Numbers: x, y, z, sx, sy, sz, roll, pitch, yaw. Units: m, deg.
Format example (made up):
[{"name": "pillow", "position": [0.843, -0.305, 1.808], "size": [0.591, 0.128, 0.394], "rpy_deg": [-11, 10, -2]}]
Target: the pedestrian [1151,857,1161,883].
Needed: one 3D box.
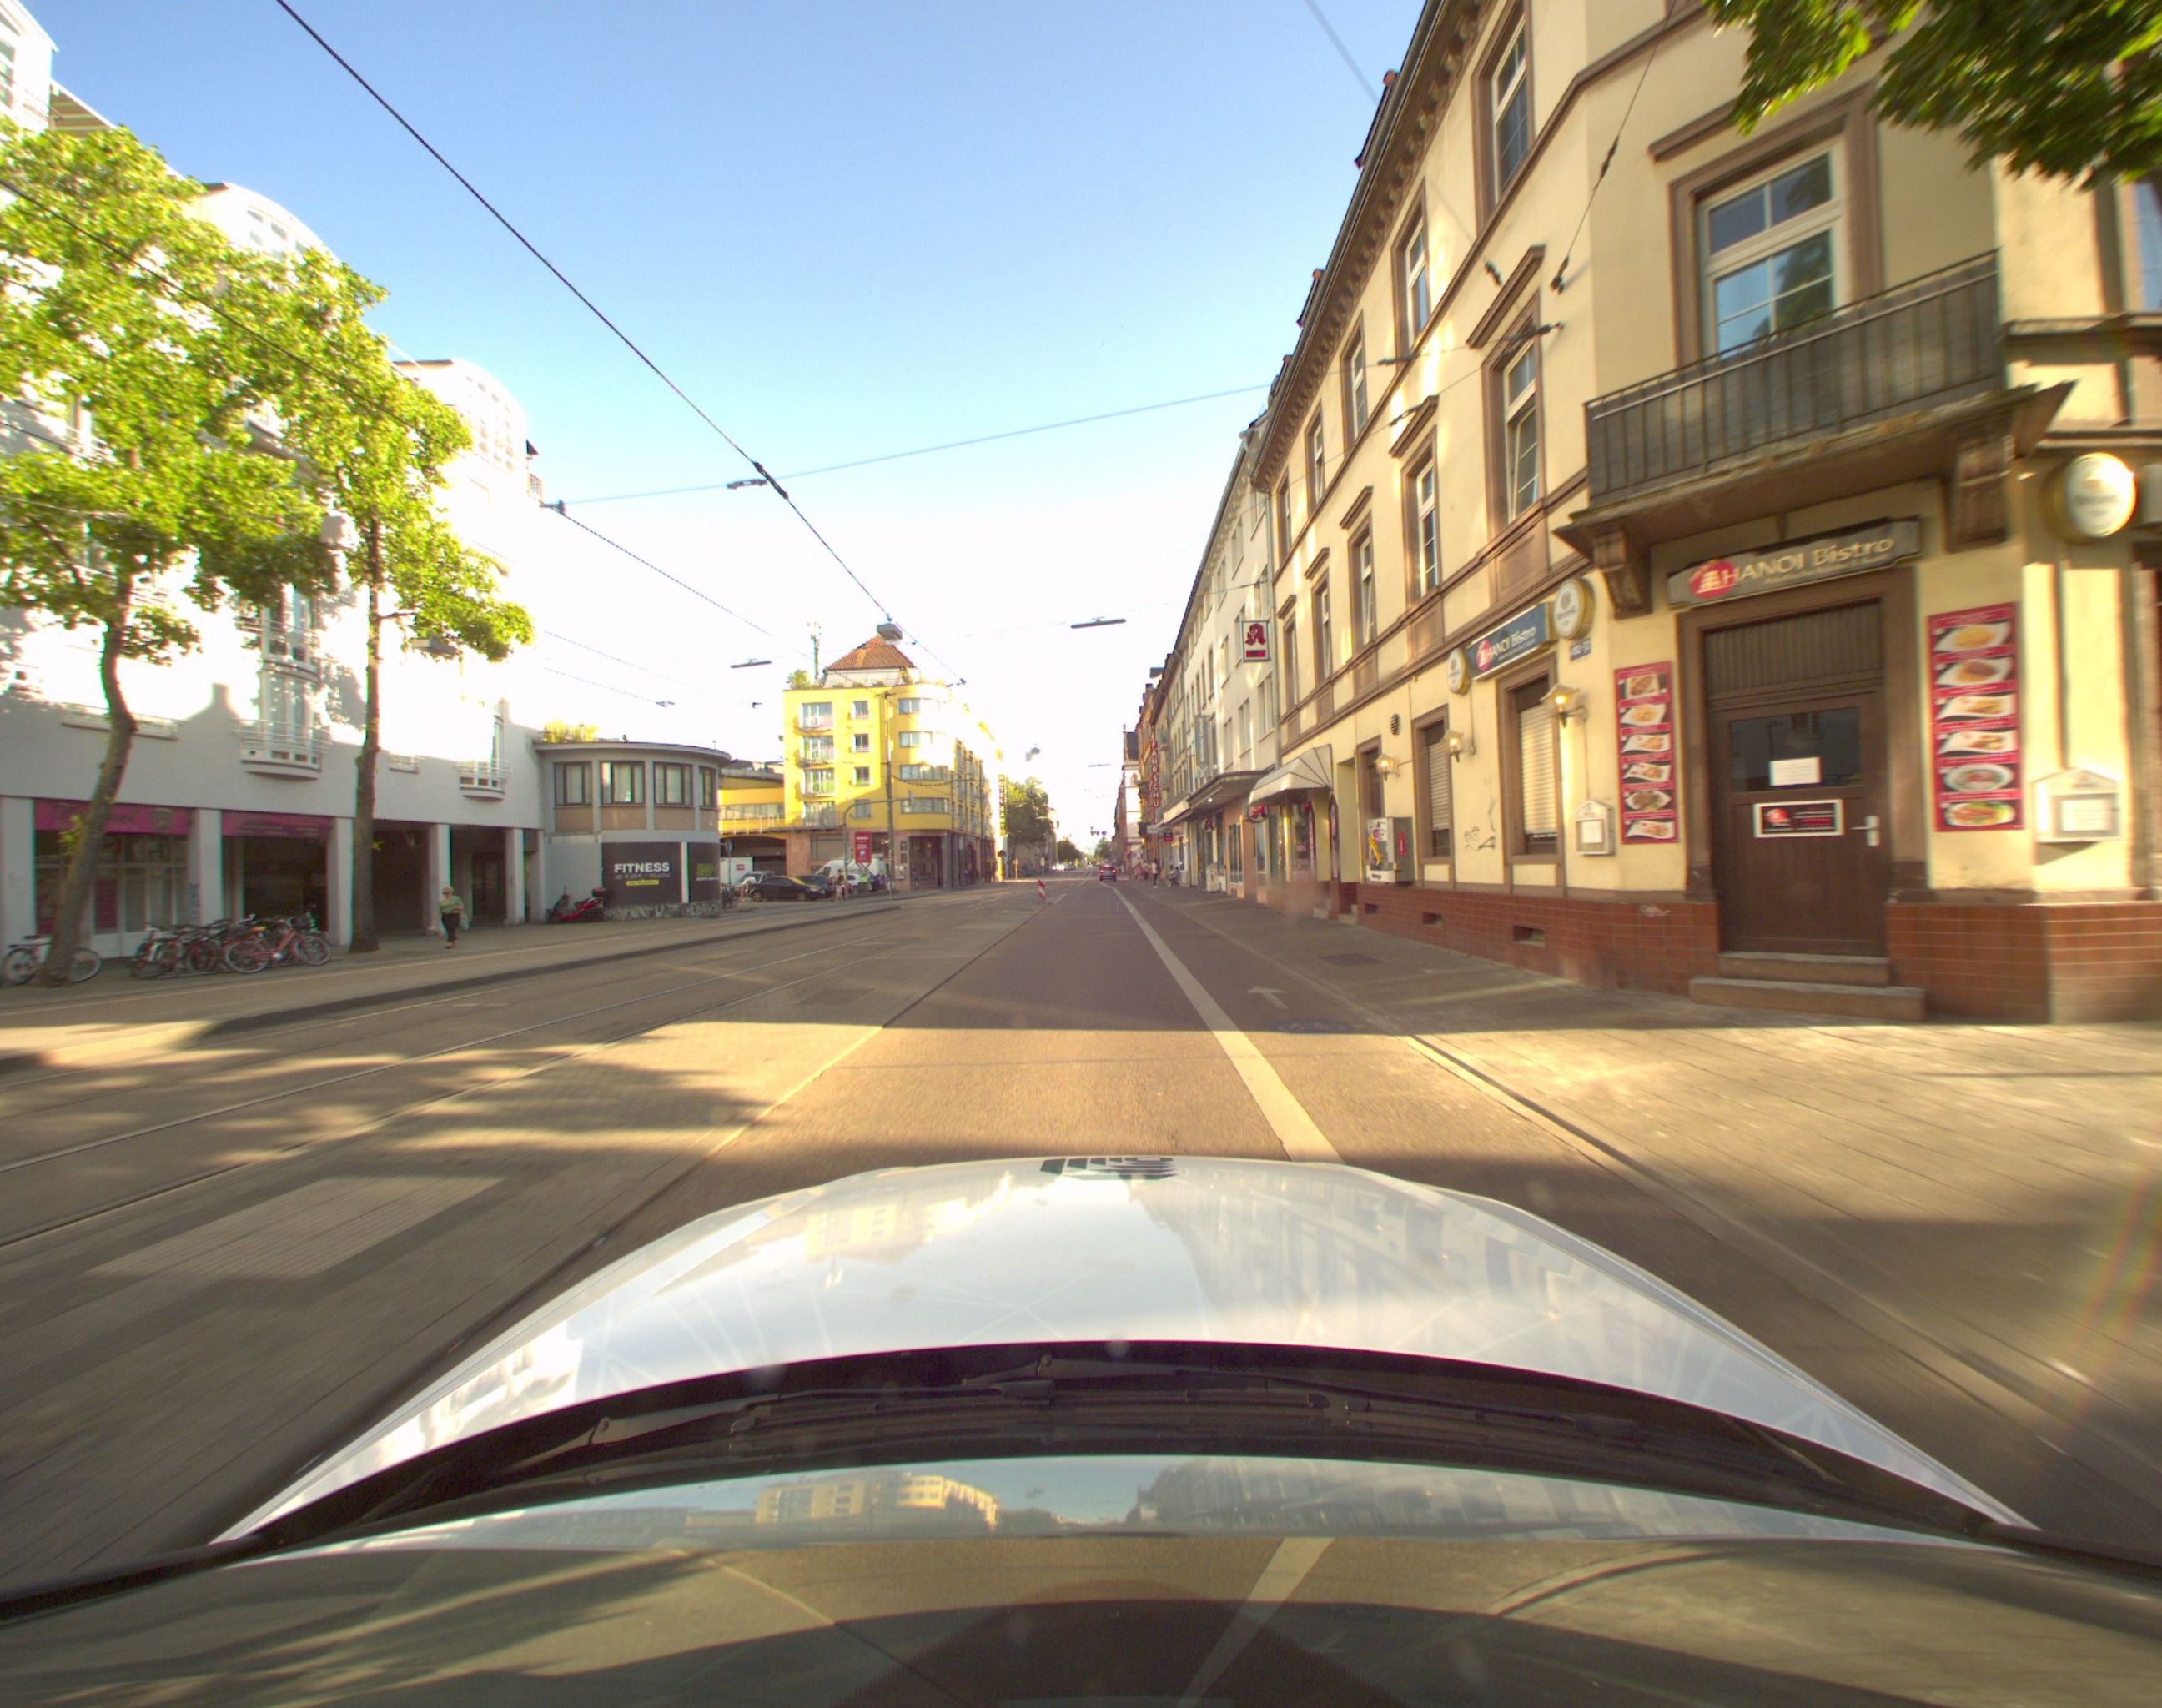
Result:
[{"name": "pedestrian", "position": [5.225, 1.087, 56.586], "size": [0.557, 1.796, 0.652], "rpy_deg": [-2, -1, 8]}]

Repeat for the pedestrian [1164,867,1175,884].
[{"name": "pedestrian", "position": [5.636, 1.343, 51.917], "size": [0.687, 1.043, 0.681], "rpy_deg": [-2, -1, 5]}]

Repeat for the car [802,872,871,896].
[{"name": "car", "position": [-16.209, 1.970, 54.013], "size": [3.972, 1.510, 1.801], "rpy_deg": [-1, -1, 2]}]

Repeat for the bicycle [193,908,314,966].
[{"name": "bicycle", "position": [-17.955, 1.768, 17.707], "size": [0.494, 1.107, 1.811], "rpy_deg": [0, 0, 42]}]

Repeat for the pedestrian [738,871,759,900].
[{"name": "pedestrian", "position": [-19.046, 1.792, 46.696], "size": [0.896, 1.652, 0.754], "rpy_deg": [0, -1, -41]}]

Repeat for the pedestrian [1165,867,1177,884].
[{"name": "pedestrian", "position": [5.643, 1.322, 51.029], "size": [0.687, 1.043, 0.681], "rpy_deg": [-2, -1, 5]}]

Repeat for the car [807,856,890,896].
[{"name": "car", "position": [-16.088, 1.506, 56.600], "size": [5.086, 2.576, 2.129], "rpy_deg": [-1, -1, 2]}]

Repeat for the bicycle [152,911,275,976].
[{"name": "bicycle", "position": [-17.461, 1.770, 16.455], "size": [0.496, 1.107, 1.801], "rpy_deg": [1, 0, 2]}]

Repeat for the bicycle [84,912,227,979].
[{"name": "bicycle", "position": [-18.164, 1.758, 16.045], "size": [0.495, 1.107, 1.806], "rpy_deg": [1, 0, 13]}]

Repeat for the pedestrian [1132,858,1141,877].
[{"name": "pedestrian", "position": [5.815, 1.447, 85.802], "size": [0.840, 1.918, 0.847], "rpy_deg": [-2, -1, -1]}]

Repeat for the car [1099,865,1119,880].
[{"name": "car", "position": [2.946, 1.934, 86.727], "size": [1.986, 1.449, 4.000], "rpy_deg": [-1, -1, 1]}]

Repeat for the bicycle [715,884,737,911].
[{"name": "bicycle", "position": [-15.601, 1.900, 35.804], "size": [0.499, 1.107, 1.793], "rpy_deg": [-1, -1, -11]}]

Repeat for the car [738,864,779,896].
[{"name": "car", "position": [-23.506, 1.892, 59.539], "size": [1.793, 2.208, 3.990], "rpy_deg": [-1, -1, -7]}]

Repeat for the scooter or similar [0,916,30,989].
[{"name": "scooter or similar", "position": [-18.697, 1.690, 13.610], "size": [0.495, 1.193, 1.276], "rpy_deg": [1, 0, 13]}]

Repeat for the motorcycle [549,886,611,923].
[{"name": "motorcycle", "position": [-18.227, 1.830, 29.628], "size": [1.791, 1.298, 0.605], "rpy_deg": [1, -1, -5]}]

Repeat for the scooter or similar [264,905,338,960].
[{"name": "scooter or similar", "position": [-18.480, 1.836, 19.327], "size": [0.496, 1.193, 1.272], "rpy_deg": [-2, -1, 2]}]

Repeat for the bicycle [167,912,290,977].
[{"name": "bicycle", "position": [-17.036, 1.779, 16.336], "size": [0.496, 1.107, 1.801], "rpy_deg": [1, 0, 2]}]

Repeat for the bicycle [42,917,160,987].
[{"name": "bicycle", "position": [-17.850, 1.760, 14.854], "size": [0.494, 1.107, 1.280], "rpy_deg": [1, 0, 28]}]

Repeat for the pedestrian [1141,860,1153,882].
[{"name": "pedestrian", "position": [5.836, 1.505, 71.918], "size": [0.846, 1.918, 1.034], "rpy_deg": [-2, -1, -1]}]

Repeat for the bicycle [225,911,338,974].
[{"name": "bicycle", "position": [-16.513, 1.796, 16.886], "size": [0.496, 1.107, 1.801], "rpy_deg": [1, 0, 2]}]

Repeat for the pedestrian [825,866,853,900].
[{"name": "pedestrian", "position": [-13.213, 1.579, 44.547], "size": [0.900, 1.815, 1.158], "rpy_deg": [-2, -1, 23]}]

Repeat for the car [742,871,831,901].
[{"name": "car", "position": [-16.652, 1.799, 46.199], "size": [4.303, 1.510, 1.801], "rpy_deg": [-1, -1, 2]}]

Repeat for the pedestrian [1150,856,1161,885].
[{"name": "pedestrian", "position": [4.687, 1.033, 51.287], "size": [0.645, 1.796, 0.562], "rpy_deg": [-2, -1, 5]}]

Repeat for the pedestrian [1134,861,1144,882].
[{"name": "pedestrian", "position": [5.427, 1.612, 76.367], "size": [0.840, 1.918, 0.661], "rpy_deg": [-2, -1, -1]}]

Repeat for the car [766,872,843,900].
[{"name": "car", "position": [-16.578, 1.901, 48.905], "size": [3.972, 1.510, 1.801], "rpy_deg": [-1, -1, 2]}]

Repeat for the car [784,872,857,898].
[{"name": "car", "position": [-16.408, 1.937, 51.484], "size": [3.972, 1.510, 1.801], "rpy_deg": [-1, -1, 2]}]

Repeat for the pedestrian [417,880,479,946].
[{"name": "pedestrian", "position": [-16.601, 1.530, 21.401], "size": [1.017, 1.661, 0.915], "rpy_deg": [1, -1, -21]}]
